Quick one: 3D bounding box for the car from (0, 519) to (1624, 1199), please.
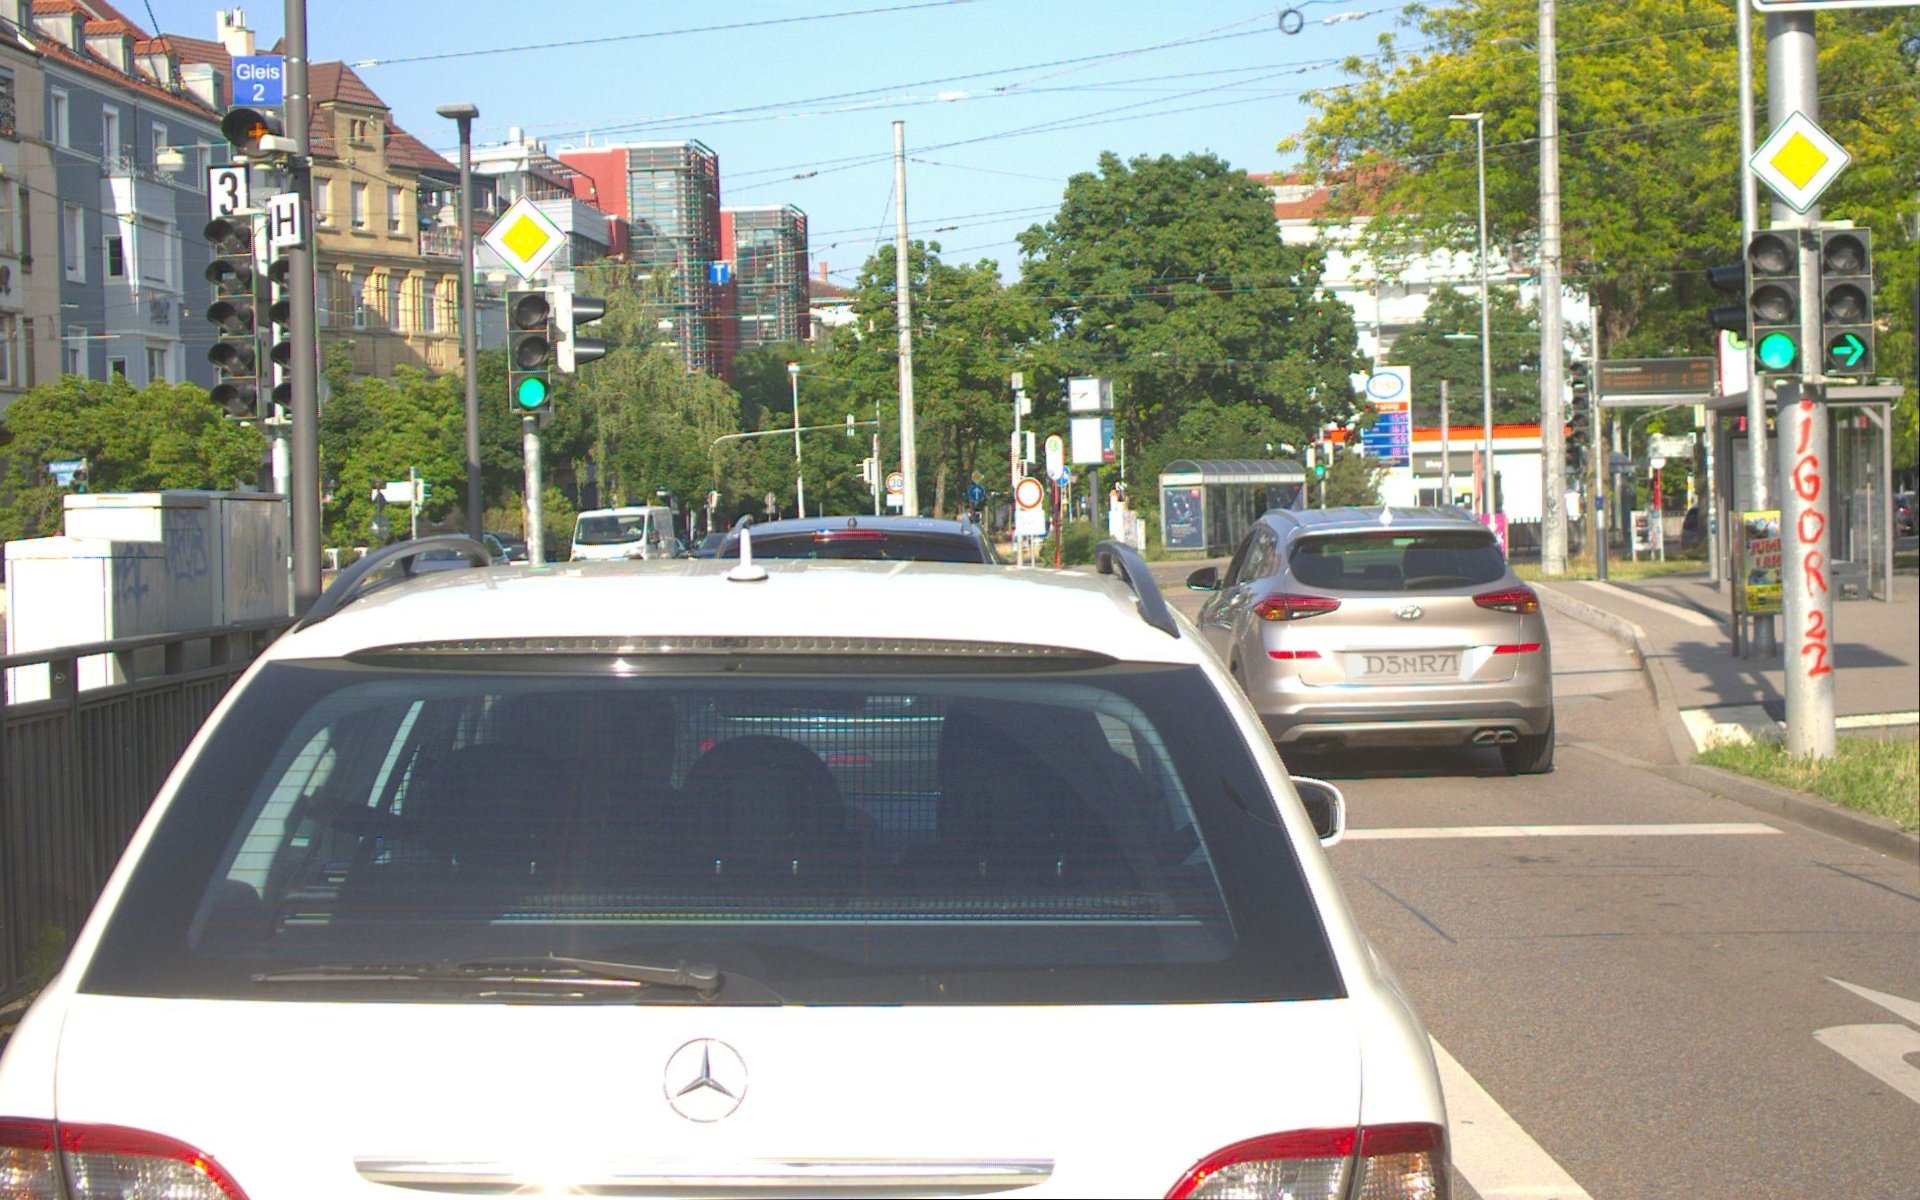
[{"bbox_3d":[-0.291,0.628,5.272,1.835,1.496,3.815,0,1,-1],"label":"car"}]

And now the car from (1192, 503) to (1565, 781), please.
[{"bbox_3d":[2.526,0.200,21.611,1.835,1.594,3.815,0,1,-1],"label":"car"}]

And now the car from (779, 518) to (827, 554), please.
[{"bbox_3d":[-6.696,-2.751,147.148,1.634,1.428,3.628,-2,2,3],"label":"car"}]

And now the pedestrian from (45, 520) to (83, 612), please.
[{"bbox_3d":[-18.510,-0.703,71.040,0.584,1.874,0.627,-2,1,-2],"label":"pedestrian"}]

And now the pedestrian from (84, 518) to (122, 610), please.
[{"bbox_3d":[-17.751,-0.742,71.196,0.584,1.874,0.627,-2,1,-3],"label":"pedestrian"}]

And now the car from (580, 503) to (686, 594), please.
[{"bbox_3d":[-8.426,-1.361,89.039,2.177,2.231,5.253,-2,2,0],"label":"car"}]

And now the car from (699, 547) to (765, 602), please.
[{"bbox_3d":[-7.113,-0.810,107.454,1.767,1.489,4.745,-2,3,-1],"label":"car"}]

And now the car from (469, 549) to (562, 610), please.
[{"bbox_3d":[-11.600,-0.542,89.972,1.794,1.452,4.000,-2,2,1],"label":"car"}]

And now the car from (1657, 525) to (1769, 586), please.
[{"bbox_3d":[20.724,-1.228,94.534,1.856,1.510,3.994,-2,1,30],"label":"car"}]

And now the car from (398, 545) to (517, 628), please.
[{"bbox_3d":[-10.389,-0.307,71.329,1.676,1.520,4.125,-2,2,2],"label":"car"}]

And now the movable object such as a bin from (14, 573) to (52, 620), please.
[{"bbox_3d":[-19.310,-0.071,71.614,0.583,0.943,0.663,-2,1,1],"label":"movable object such as a bin"}]

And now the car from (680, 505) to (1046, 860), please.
[{"bbox_3d":[-0.458,0.328,17.341,1.641,1.594,3.815,0,1,-1],"label":"car"}]
